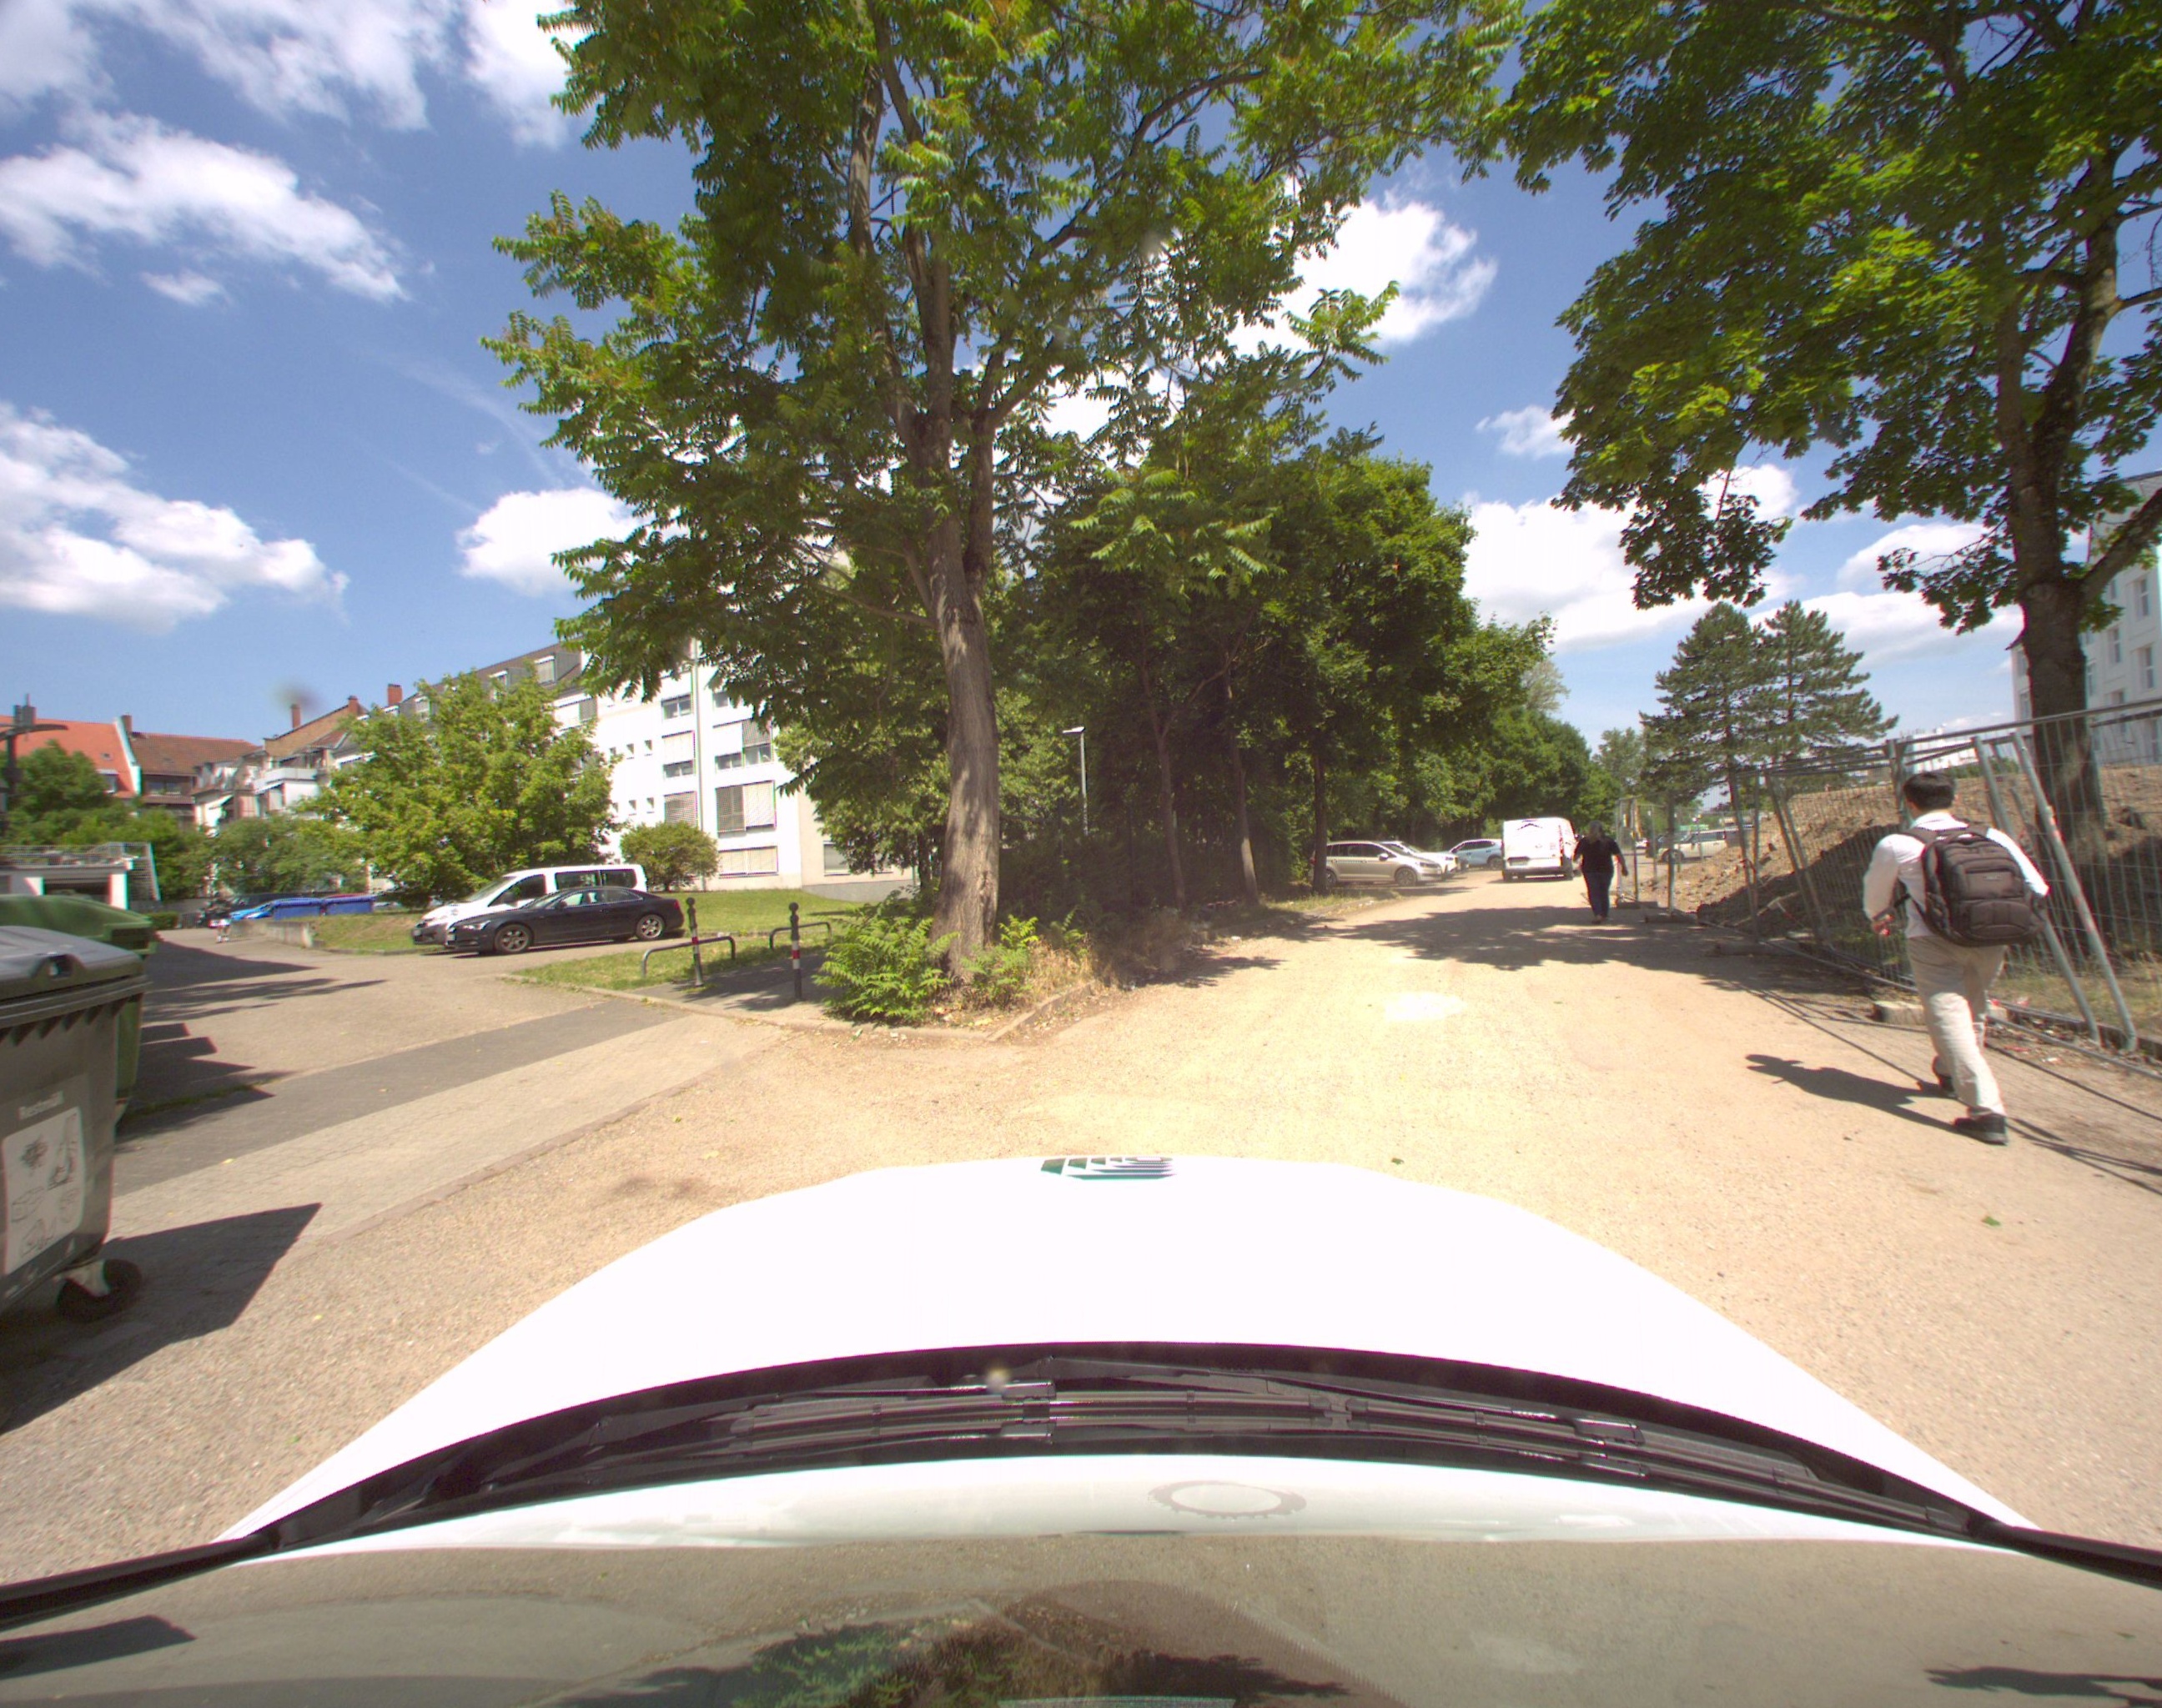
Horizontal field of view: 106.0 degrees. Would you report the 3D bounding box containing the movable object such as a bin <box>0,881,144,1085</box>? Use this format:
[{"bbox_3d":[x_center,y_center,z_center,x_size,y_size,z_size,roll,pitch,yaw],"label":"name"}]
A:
[{"bbox_3d":[-8.467,1.002,6.576,1.245,1.479,1.054,-3,0,37],"label":"movable object such as a bin"}]

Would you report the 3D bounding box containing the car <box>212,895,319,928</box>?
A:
[{"bbox_3d":[-46.614,3.248,46.607,1.781,1.534,4.026,-3,0,35],"label":"car"}]

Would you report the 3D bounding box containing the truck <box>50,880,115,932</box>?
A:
[{"bbox_3d":[-60.071,3.121,48.973,4.593,2.937,1.805,-3,-1,31],"label":"truck"}]

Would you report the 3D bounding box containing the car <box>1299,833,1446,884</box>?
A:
[{"bbox_3d":[10.298,0.214,28.884,4.461,1.609,2.013,-3,-2,37],"label":"car"}]

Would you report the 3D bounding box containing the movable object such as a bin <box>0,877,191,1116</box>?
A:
[{"bbox_3d":[-7.377,0.953,5.747,1.343,1.479,1.103,-3,0,26],"label":"movable object such as a bin"}]

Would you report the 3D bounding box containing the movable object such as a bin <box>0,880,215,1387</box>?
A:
[{"bbox_3d":[-3.719,0.811,2.501,1.120,1.394,1.149,-3,0,-30],"label":"movable object such as a bin"}]

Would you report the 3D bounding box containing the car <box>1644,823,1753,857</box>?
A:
[{"bbox_3d":[29.041,-0.649,38.382,3.948,1.420,2.013,-3,0,38],"label":"car"}]

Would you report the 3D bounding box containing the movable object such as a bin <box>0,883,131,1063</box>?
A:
[{"bbox_3d":[-9.630,1.055,7.480,1.391,1.479,1.054,-3,0,37],"label":"movable object such as a bin"}]

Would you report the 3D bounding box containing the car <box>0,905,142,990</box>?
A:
[{"bbox_3d":[-21.212,1.858,17.033,4.329,1.430,1.772,-3,0,38],"label":"car"}]

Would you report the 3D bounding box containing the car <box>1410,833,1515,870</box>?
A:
[{"bbox_3d":[19.262,-0.112,41.193,4.461,1.597,1.737,-3,0,36],"label":"car"}]

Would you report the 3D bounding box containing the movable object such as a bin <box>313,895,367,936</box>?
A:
[{"bbox_3d":[-26.355,2.178,28.967,1.145,1.326,1.228,-3,0,39],"label":"movable object such as a bin"}]

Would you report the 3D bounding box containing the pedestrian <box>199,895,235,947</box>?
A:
[{"bbox_3d":[-30.335,2.335,28.593,0.742,1.755,0.764,-3,-1,38],"label":"pedestrian"}]

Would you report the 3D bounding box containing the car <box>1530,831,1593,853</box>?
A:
[{"bbox_3d":[41.214,-1.030,69.898,4.461,1.597,1.737,-3,0,36],"label":"car"}]

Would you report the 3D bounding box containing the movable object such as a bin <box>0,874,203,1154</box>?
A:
[{"bbox_3d":[-6.346,0.907,4.893,1.308,1.479,1.216,-3,0,34],"label":"movable object such as a bin"}]

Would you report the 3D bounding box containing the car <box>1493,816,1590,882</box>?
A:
[{"bbox_3d":[15.230,-0.201,26.802,1.954,1.947,4.610,-3,0,39],"label":"car"}]

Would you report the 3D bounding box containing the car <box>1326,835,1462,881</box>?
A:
[{"bbox_3d":[11.840,0.176,30.915,4.461,1.531,1.737,-3,0,36],"label":"car"}]

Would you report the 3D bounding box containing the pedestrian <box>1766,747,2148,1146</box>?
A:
[{"bbox_3d":[4.342,0.409,4.176,0.867,1.729,1.085,-3,0,18],"label":"pedestrian"}]

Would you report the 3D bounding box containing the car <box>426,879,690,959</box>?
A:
[{"bbox_3d":[-11.618,1.374,18.420,1.810,1.352,4.656,-3,0,37],"label":"car"}]

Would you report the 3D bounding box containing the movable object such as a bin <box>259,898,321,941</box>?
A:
[{"bbox_3d":[-27.063,2.223,27.859,1.145,1.326,1.352,-3,0,39],"label":"movable object such as a bin"}]

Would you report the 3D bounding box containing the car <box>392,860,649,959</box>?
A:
[{"bbox_3d":[-13.673,1.274,20.160,1.974,2.014,4.806,-4,-1,37],"label":"car"}]

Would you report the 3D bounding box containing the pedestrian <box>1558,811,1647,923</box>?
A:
[{"bbox_3d":[8.121,0.195,12.748,1.025,1.650,1.055,-3,0,28],"label":"pedestrian"}]

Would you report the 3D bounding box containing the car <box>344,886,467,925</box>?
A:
[{"bbox_3d":[-31.205,2.346,37.715,1.781,1.478,4.026,-3,0,35],"label":"car"}]

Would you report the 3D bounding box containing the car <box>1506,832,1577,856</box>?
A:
[{"bbox_3d":[35.097,-0.767,62.080,4.461,1.547,1.737,-3,0,36],"label":"car"}]

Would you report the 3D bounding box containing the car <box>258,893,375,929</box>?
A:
[{"bbox_3d":[-38.718,2.862,41.325,1.781,1.478,4.026,-3,0,35],"label":"car"}]

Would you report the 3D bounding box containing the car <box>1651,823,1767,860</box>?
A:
[{"bbox_3d":[27.845,-0.533,36.213,3.948,1.420,2.013,-2,0,38],"label":"car"}]
